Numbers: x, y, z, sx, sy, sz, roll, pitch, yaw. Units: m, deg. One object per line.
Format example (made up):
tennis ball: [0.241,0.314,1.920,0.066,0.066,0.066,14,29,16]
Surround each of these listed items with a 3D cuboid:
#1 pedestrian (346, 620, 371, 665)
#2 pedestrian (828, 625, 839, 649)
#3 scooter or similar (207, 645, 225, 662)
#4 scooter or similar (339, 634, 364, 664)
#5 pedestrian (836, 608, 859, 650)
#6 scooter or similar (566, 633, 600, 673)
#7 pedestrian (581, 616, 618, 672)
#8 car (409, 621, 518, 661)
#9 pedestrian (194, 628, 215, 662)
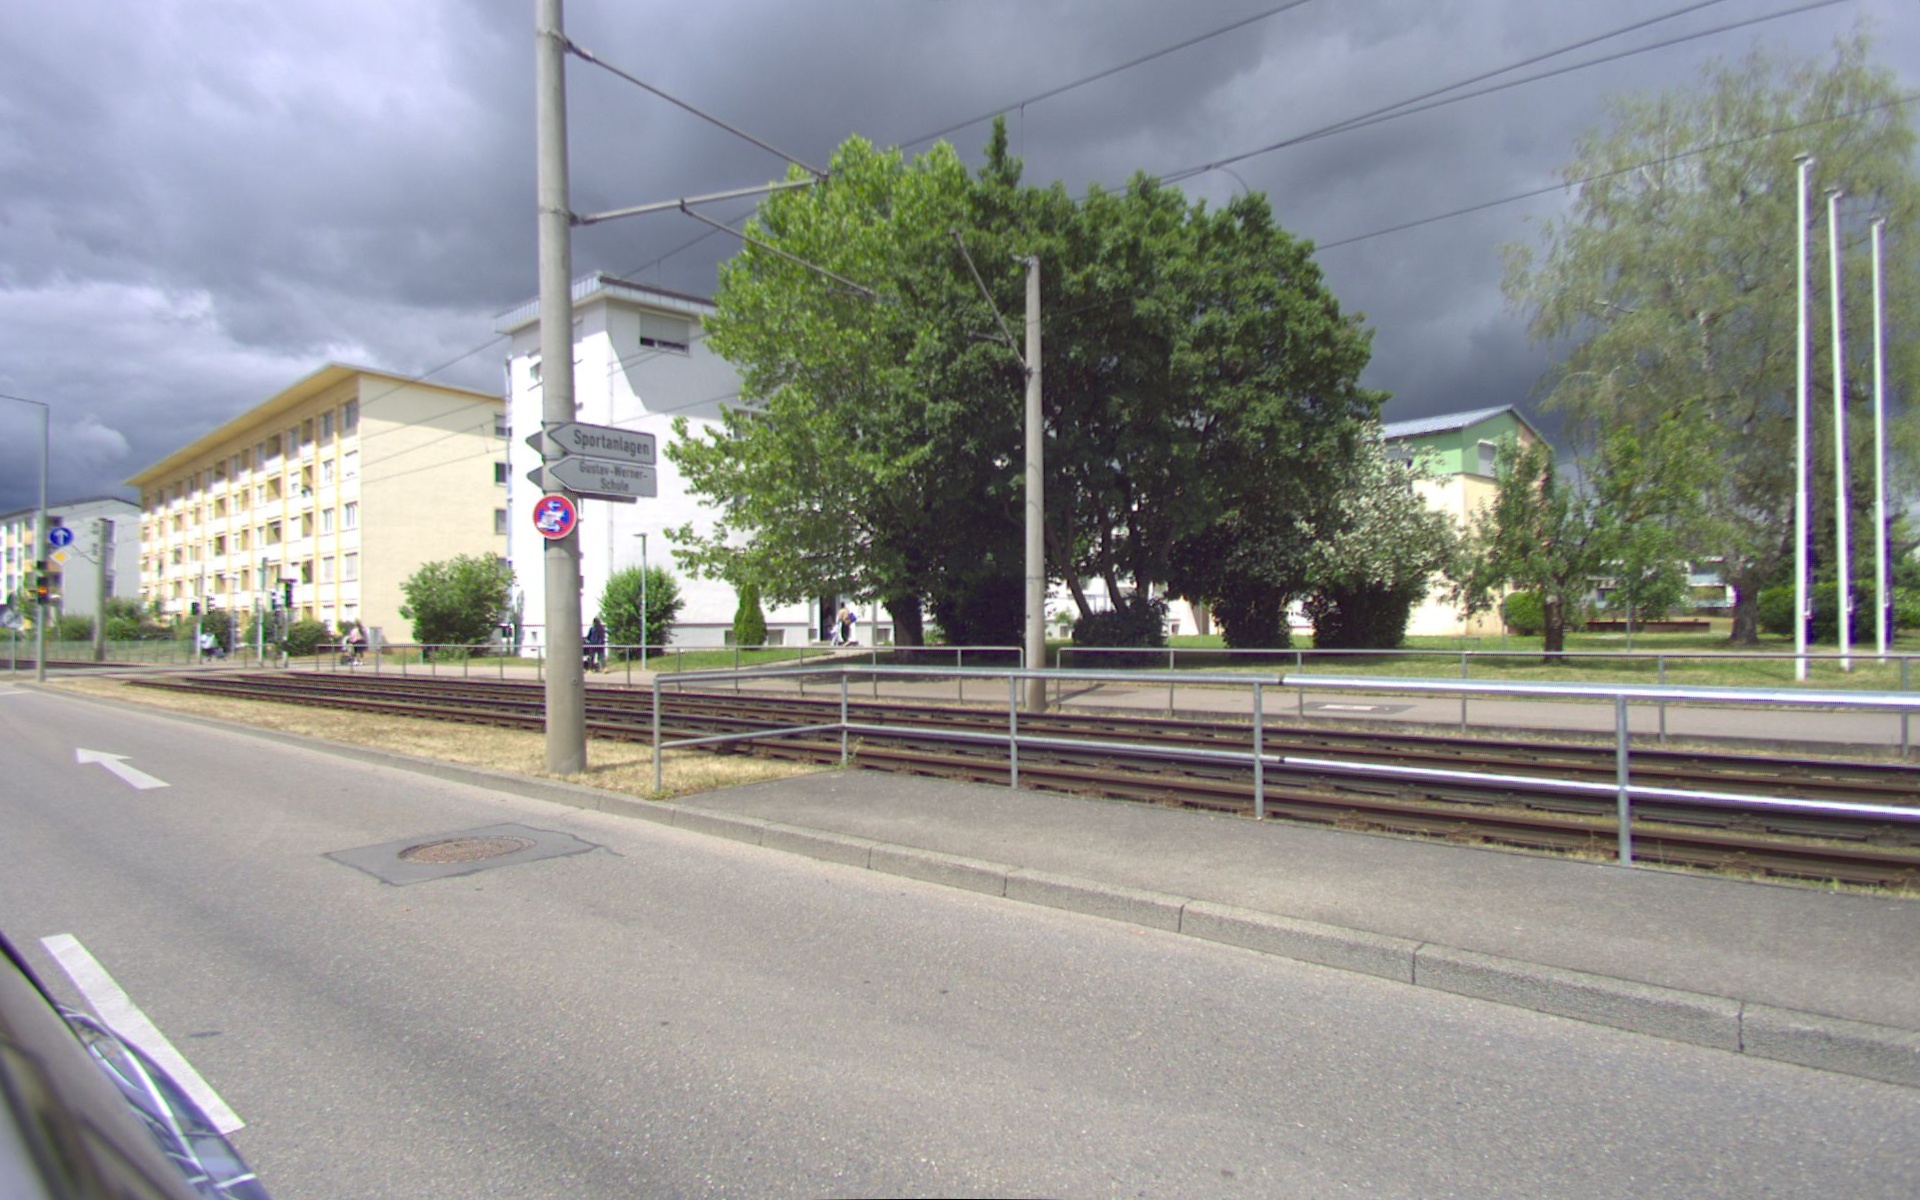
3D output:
pedestrian: [-23.679,1.666,39.833,0.679,1.705,0.638,-2,-1,40]
pedestrian: [-4.875,1.429,38.888,0.325,0.889,0.256,-2,4,-39]
scooter or similar: [-35.855,2.567,48.768,0.665,0.779,0.527,-2,0,39]
scooter or similar: [-24.274,1.955,40.337,0.891,1.172,0.602,-2,-1,41]
pedestrian: [-4.359,1.102,39.099,0.675,1.553,0.515,-2,5,-44]
scooter or similar: [-10.950,1.533,29.402,0.820,1.123,0.598,-2,-1,39]
pedestrian: [-10.288,1.246,28.866,0.873,1.552,0.607,-2,-1,39]
car: [-23.142,1.875,47.271,4.227,1.742,1.811,0,-1,-44]
pedestrian: [-36.243,2.157,48.536,0.773,1.619,0.598,-2,0,39]
